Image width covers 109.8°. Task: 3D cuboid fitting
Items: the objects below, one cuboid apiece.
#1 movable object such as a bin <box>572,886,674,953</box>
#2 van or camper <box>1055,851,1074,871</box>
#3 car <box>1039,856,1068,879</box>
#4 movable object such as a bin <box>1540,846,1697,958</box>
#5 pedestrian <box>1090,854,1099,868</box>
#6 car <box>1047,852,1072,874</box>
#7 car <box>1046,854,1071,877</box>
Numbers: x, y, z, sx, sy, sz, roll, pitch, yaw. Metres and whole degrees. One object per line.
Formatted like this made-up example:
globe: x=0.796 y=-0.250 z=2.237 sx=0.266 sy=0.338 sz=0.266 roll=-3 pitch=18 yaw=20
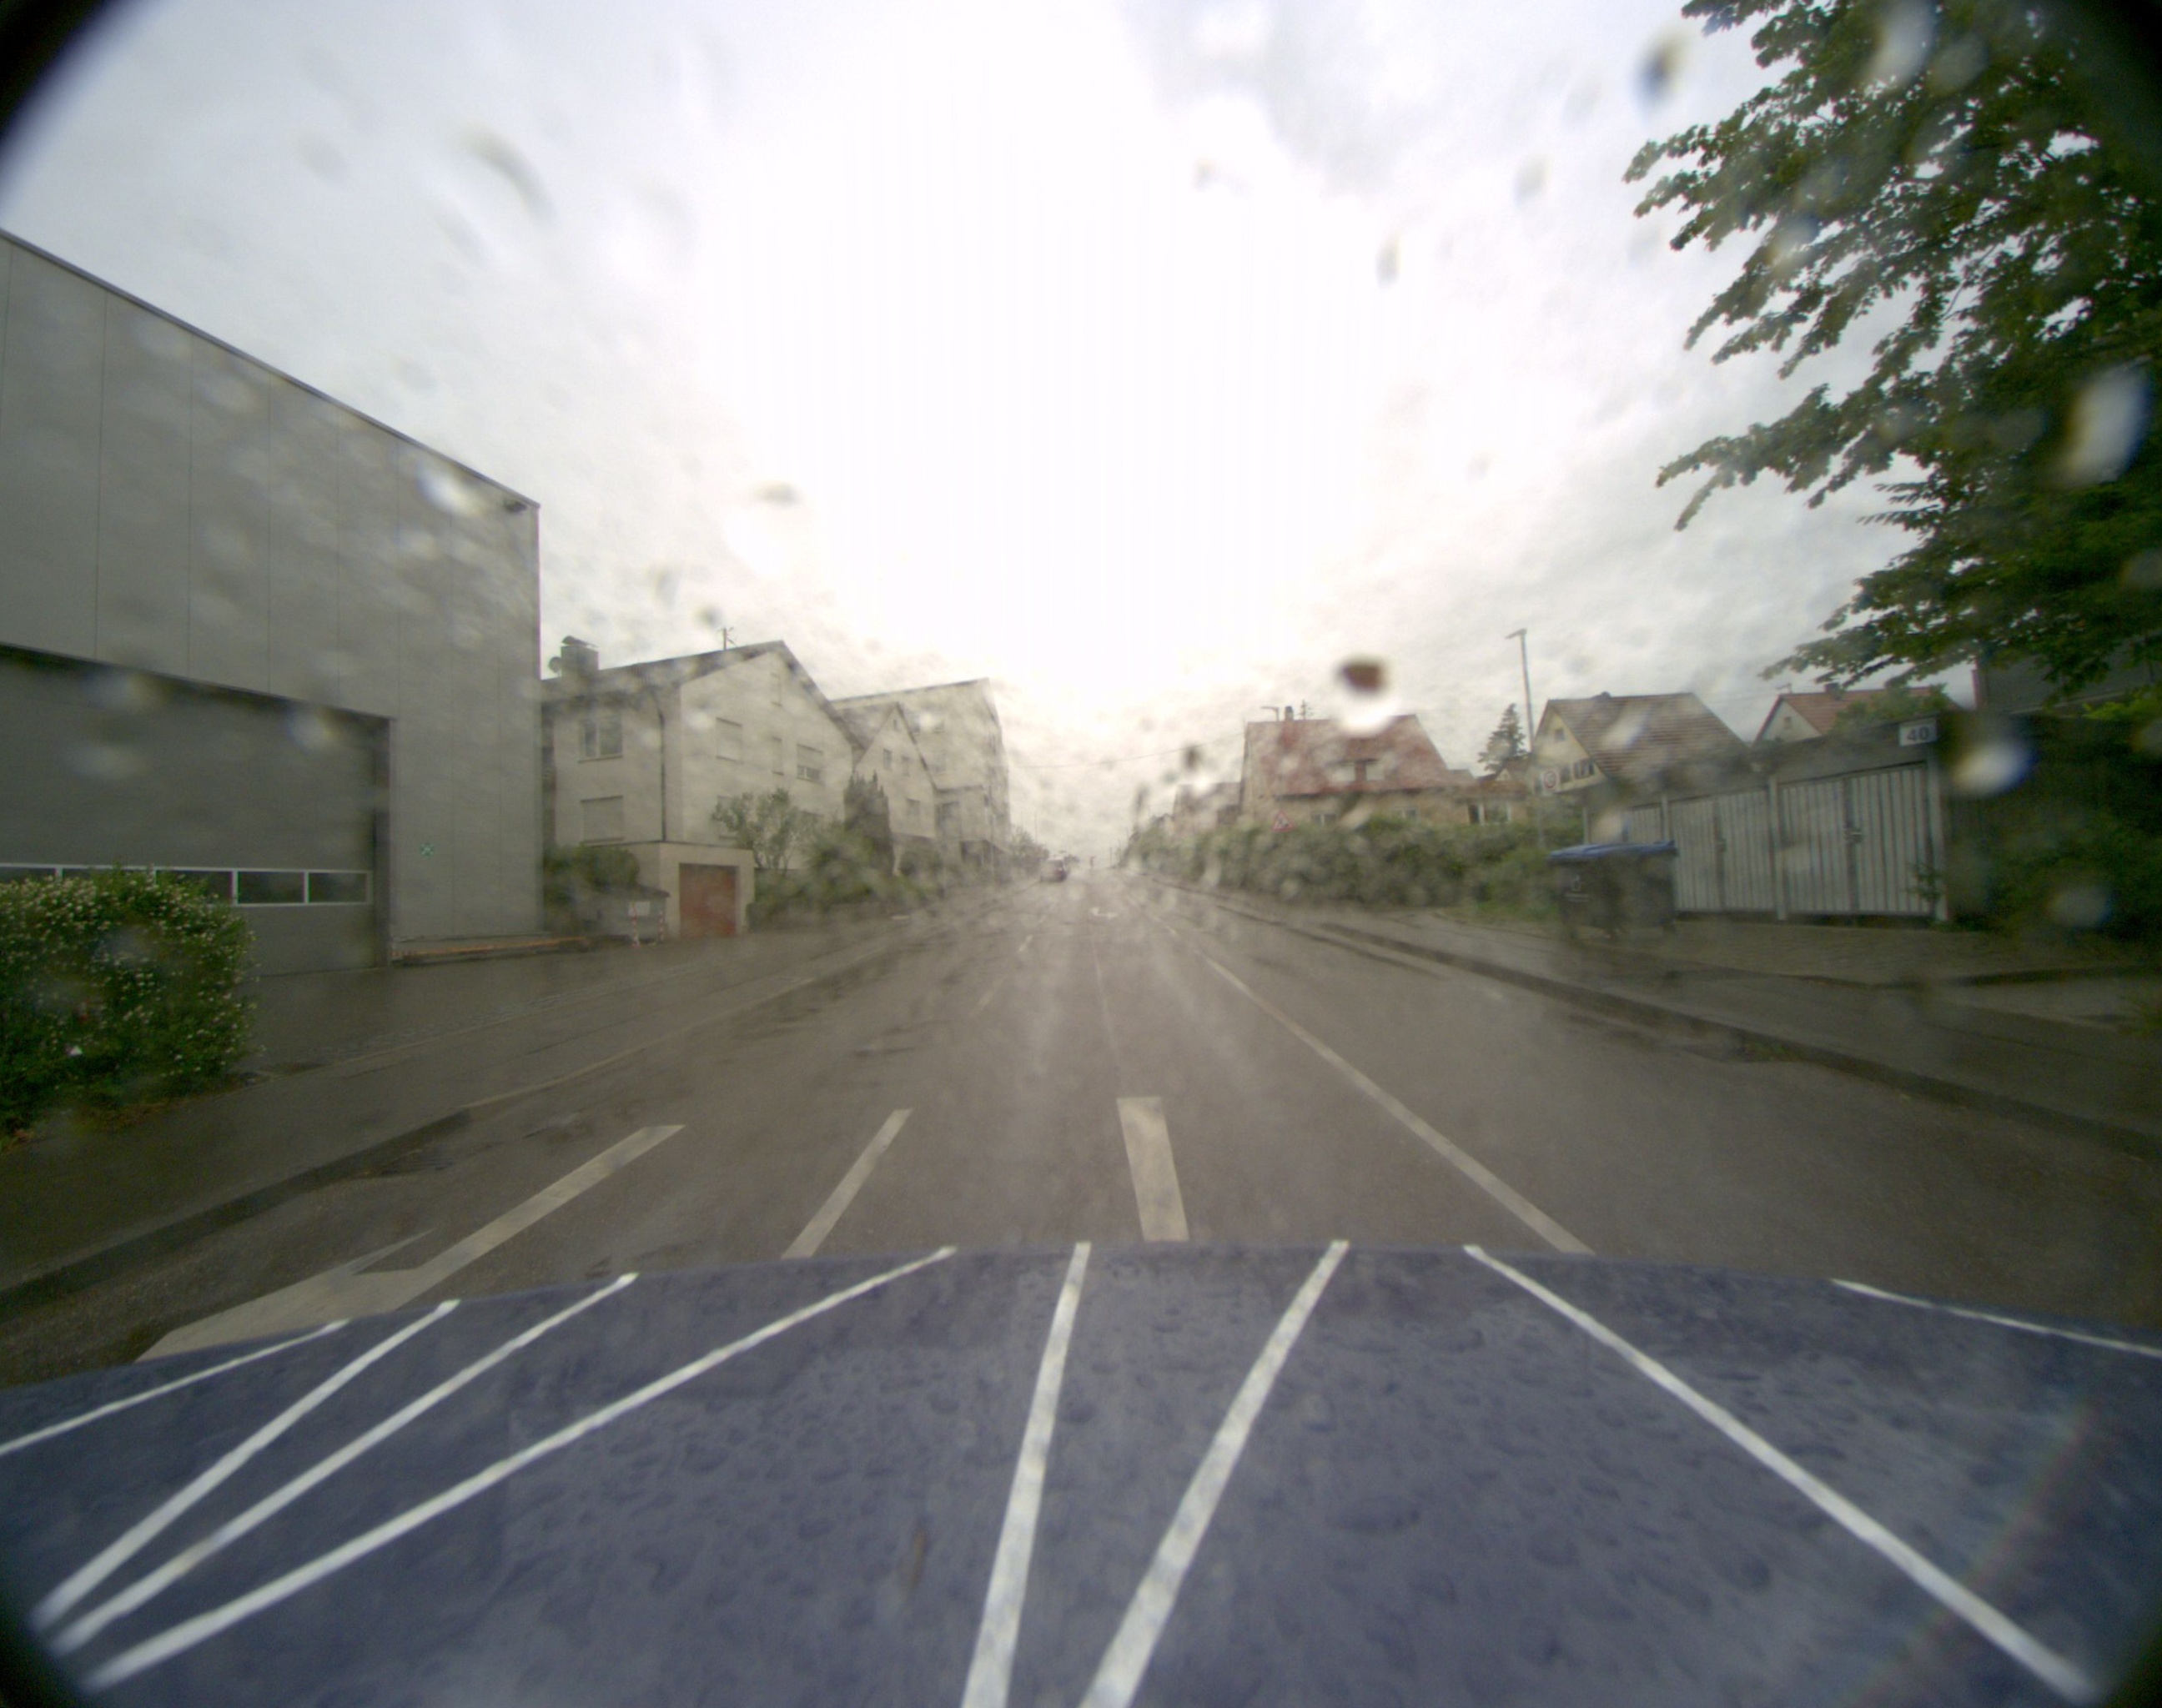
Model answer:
movable object such as a bin: x=-11.437 y=1.609 z=19.056 sx=1.263 sy=1.509 sz=1.781 roll=-2 pitch=0 yaw=16
van or camper: x=-1.838 y=0.794 z=86.184 sx=1.998 sy=2.101 sz=5.203 roll=-2 pitch=0 yaw=0
car: x=-2.169 y=1.062 z=61.500 sx=1.998 sy=1.635 sz=4.958 roll=-3 pitch=0 yaw=1
movable object such as a bin: x=7.173 y=0.611 z=10.234 sx=1.074 sy=1.339 sz=1.319 roll=-4 pitch=0 yaw=-1
pedestrian: x=1.832 y=0.939 z=104.128 sx=1.063 sy=1.924 sz=1.091 roll=-3 pitch=0 yaw=-3
car: x=-2.004 y=0.867 z=72.504 sx=1.998 sy=1.923 sz=4.976 roll=-3 pitch=0 yaw=1
car: x=-1.950 y=0.972 z=66.726 sx=1.883 sy=1.823 sz=4.489 roll=-3 pitch=0 yaw=1
